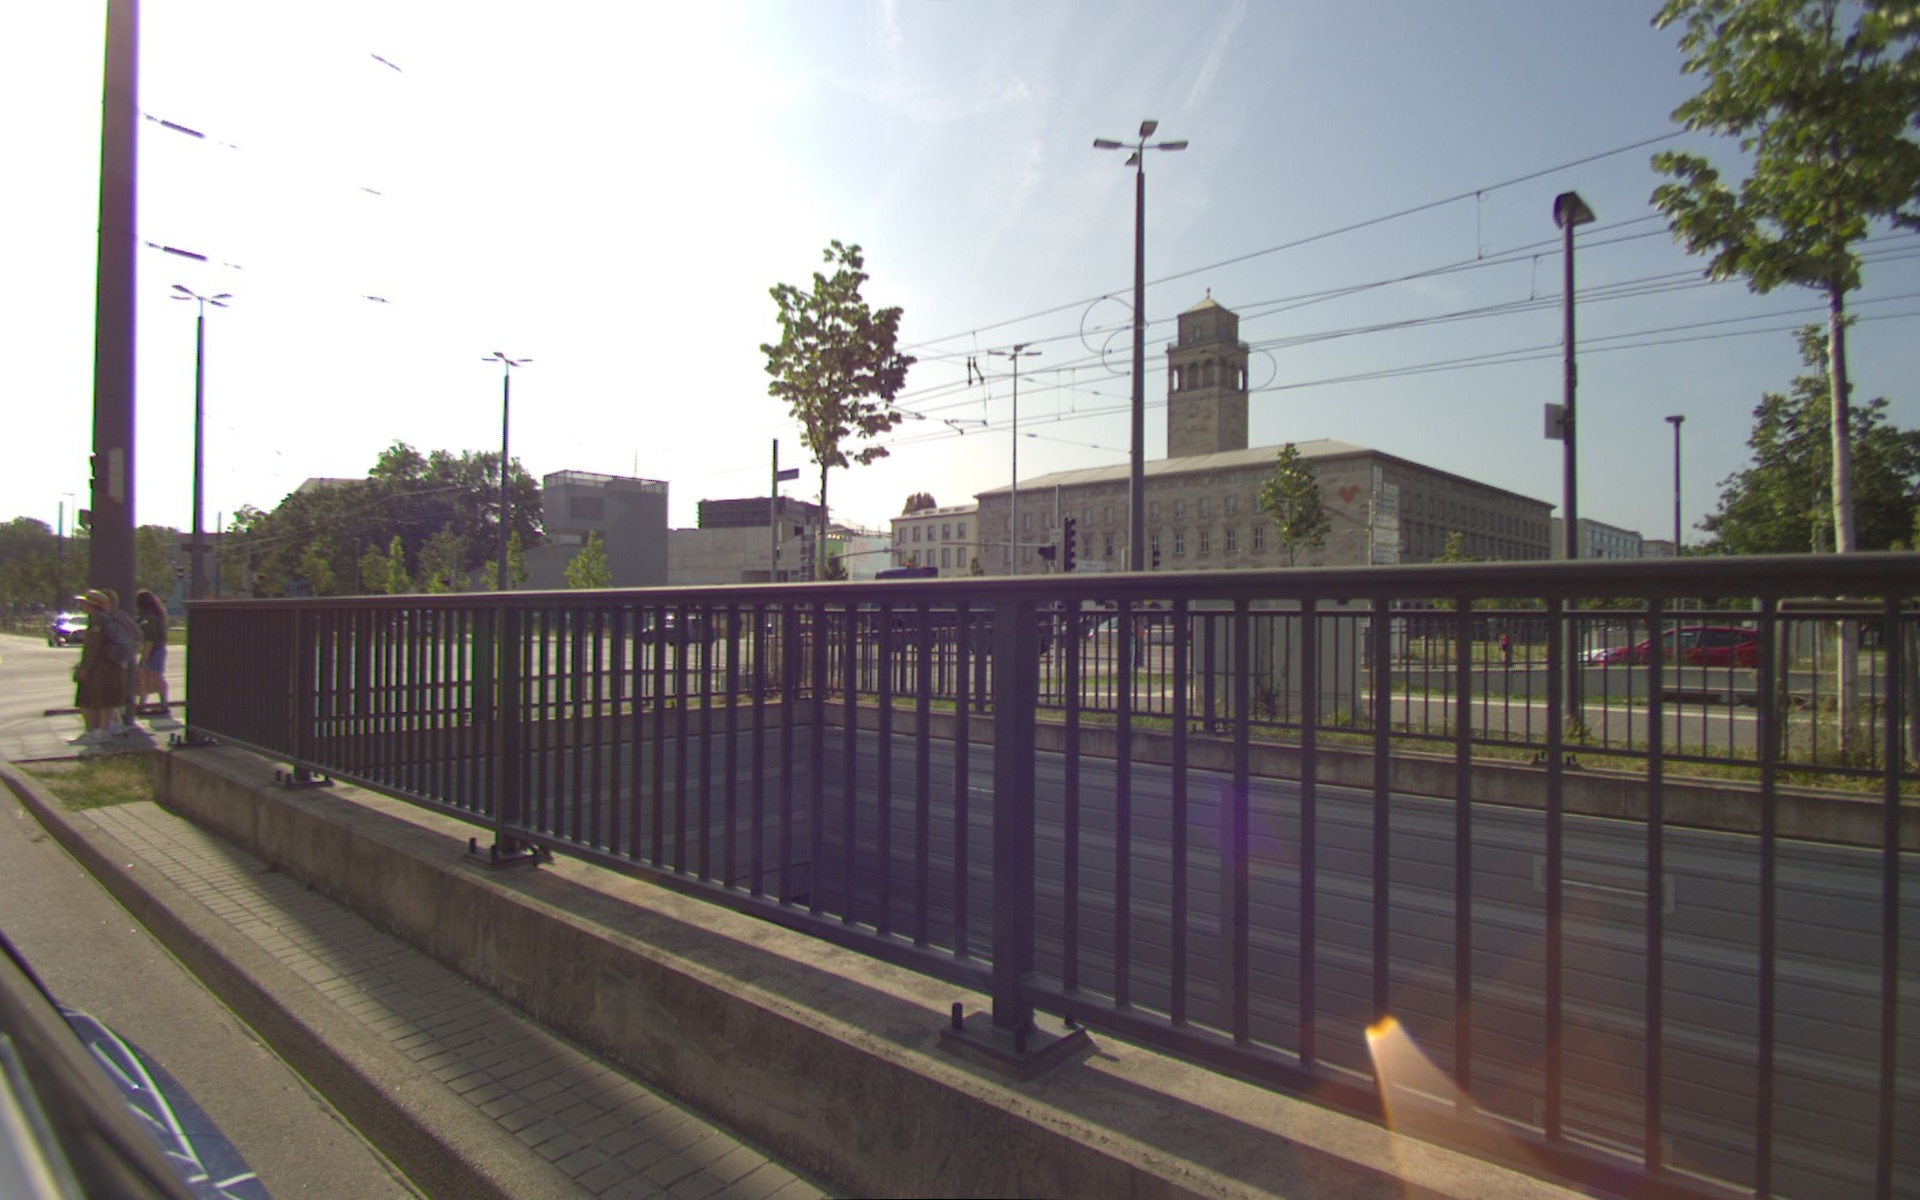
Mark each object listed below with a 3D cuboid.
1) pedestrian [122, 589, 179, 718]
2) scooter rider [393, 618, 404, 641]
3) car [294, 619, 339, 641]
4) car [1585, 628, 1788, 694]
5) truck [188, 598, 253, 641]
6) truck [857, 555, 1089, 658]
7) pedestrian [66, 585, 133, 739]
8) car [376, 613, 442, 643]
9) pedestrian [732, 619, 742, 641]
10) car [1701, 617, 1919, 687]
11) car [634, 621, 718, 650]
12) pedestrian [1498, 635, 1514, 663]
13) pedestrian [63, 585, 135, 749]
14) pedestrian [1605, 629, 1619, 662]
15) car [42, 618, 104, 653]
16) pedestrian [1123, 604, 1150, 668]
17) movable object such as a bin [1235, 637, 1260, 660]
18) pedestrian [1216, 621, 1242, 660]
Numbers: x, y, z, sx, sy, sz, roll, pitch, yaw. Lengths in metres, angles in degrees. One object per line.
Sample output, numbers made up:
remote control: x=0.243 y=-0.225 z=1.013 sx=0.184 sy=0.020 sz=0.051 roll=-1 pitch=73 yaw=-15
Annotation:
pedestrian: x=-10.755 y=0.696 z=13.442 sx=0.777 sy=1.662 sz=0.462 roll=-1 pitch=-1 yaw=41
scooter rider: x=-41.208 y=2.167 z=74.283 sx=0.549 sy=1.711 sz=0.532 roll=-1 pitch=-2 yaw=36
car: x=-48.750 y=2.295 z=76.665 sx=3.995 sy=1.614 sz=1.624 roll=-1 pitch=-2 yaw=39
car: x=16.752 y=1.360 z=23.458 sx=3.692 sy=1.372 sz=1.704 roll=-1 pitch=-1 yaw=38
truck: x=-68.966 y=1.807 z=94.278 sx=10.421 sy=3.838 sz=2.939 roll=-1 pitch=-2 yaw=43
truck: x=0.368 y=0.321 z=39.370 sx=8.864 sy=3.614 sz=2.997 roll=-1 pitch=-2 yaw=33
pedestrian: x=-9.698 y=0.681 z=11.406 sx=0.777 sy=1.662 sz=0.462 roll=-1 pitch=-1 yaw=41
car: x=-34.750 y=1.749 z=63.783 sx=4.502 sy=1.802 sz=1.604 roll=-1 pitch=-2 yaw=31
pedestrian: x=-17.085 y=2.296 z=77.513 sx=0.598 sy=1.710 sz=0.538 roll=1 pitch=-2 yaw=-44
car: x=21.172 y=1.230 z=25.001 sx=4.608 sy=1.594 sz=1.775 roll=-1 pitch=-1 yaw=37
car: x=-13.850 y=1.717 z=49.296 sx=4.415 sy=1.357 sz=1.581 roll=-1 pitch=-2 yaw=36
pedestrian: x=24.478 y=2.178 z=45.394 sx=0.538 sy=1.226 sz=0.438 roll=-1 pitch=0 yaw=43
pedestrian: x=-9.082 y=0.683 z=10.676 sx=0.777 sy=1.662 sz=0.462 roll=-1 pitch=-1 yaw=41
pedestrian: x=34.977 y=2.421 z=54.266 sx=0.540 sy=1.722 sz=0.586 roll=-1 pitch=-2 yaw=40
car: x=-40.065 y=1.600 z=45.699 sx=3.869 sy=1.443 sz=1.686 roll=-1 pitch=0 yaw=42
pedestrian: x=4.693 y=0.951 z=26.946 sx=0.365 sy=1.689 sz=0.642 roll=1 pitch=-2 yaw=-32
movable object such as a bin: x=12.926 y=2.170 z=45.489 sx=0.557 sy=1.022 sz=0.908 roll=2 pitch=-2 yaw=-45
pedestrian: x=12.270 y=1.822 z=46.171 sx=0.554 sy=1.747 sz=1.006 roll=1 pitch=-2 yaw=-45
